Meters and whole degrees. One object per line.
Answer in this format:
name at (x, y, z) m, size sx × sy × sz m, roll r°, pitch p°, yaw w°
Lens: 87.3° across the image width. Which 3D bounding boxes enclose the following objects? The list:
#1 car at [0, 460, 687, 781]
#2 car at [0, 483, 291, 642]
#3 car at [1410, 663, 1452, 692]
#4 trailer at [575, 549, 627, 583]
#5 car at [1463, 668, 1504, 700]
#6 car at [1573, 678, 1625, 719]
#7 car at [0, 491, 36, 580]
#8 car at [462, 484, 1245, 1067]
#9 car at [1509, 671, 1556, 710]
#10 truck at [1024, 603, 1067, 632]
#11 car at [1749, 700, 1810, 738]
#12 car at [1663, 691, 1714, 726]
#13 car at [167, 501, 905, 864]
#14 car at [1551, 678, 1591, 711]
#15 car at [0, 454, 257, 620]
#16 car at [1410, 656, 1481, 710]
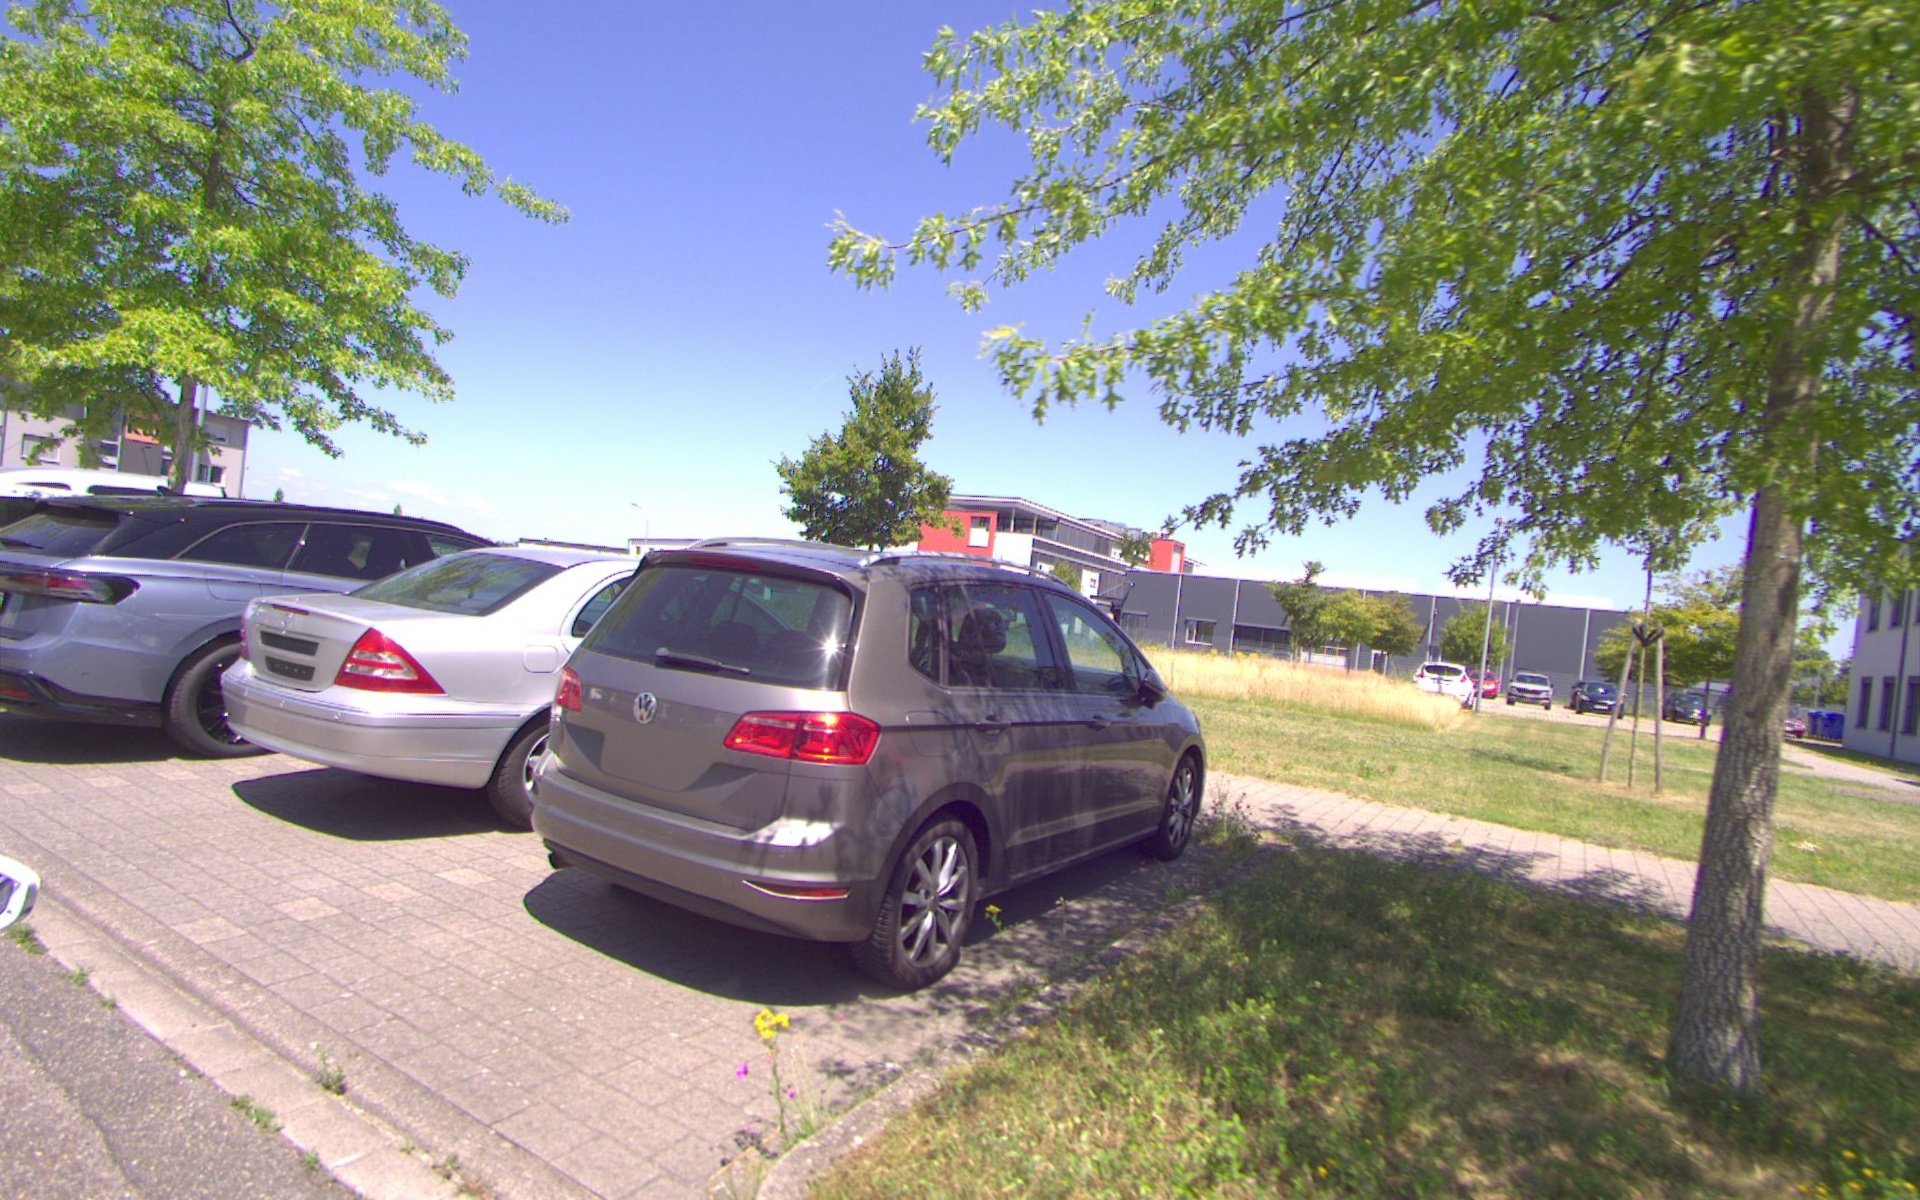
car at (-4.449, 0.109, 7.436) m, size 1.880 × 1.581 × 4.722 m, roll 6°, pitch 1°, yaw 28°
car at (-9.664, -0.416, 10.879) m, size 1.649 × 1.522 × 3.632 m, roll 6°, pitch 1°, yaw 32°
car at (27.805, 4.566, 59.372) m, size 1.691 × 1.470 × 3.991 m, roll 6°, pitch 0°, yaw 31°
trailer at (-33.944, -3.190, 95.153) m, size 2.195 × 2.632 × 3.993 m, roll 7°, pitch 0°, yaw 30°
car at (30.148, 4.808, 57.904) m, size 1.691 × 1.528 × 3.991 m, roll 6°, pitch 0°, yaw 31°
car at (29.006, 4.423, 45.753) m, size 1.690 × 1.528 × 3.992 m, roll 6°, pitch 0°, yaw 30°
car at (-17.220, -1.207, 15.908) m, size 1.725 × 1.435 × 3.460 m, roll 6°, pitch 1°, yaw 31°
car at (-0.052, 0.553, 5.061) m, size 1.665 × 1.646 × 4.048 m, roll 6°, pitch 1°, yaw 32°
car at (26.916, 4.211, 47.316) m, size 1.690 × 1.528 × 3.992 m, roll 6°, pitch 0°, yaw 30°
truck at (7.299, 1.493, 85.546) m, size 1.966 × 2.038 × 3.992 m, roll 7°, pitch 0°, yaw 31°
car at (41.757, 6.046, 51.339) m, size 1.691 × 1.528 × 3.991 m, roll 6°, pitch 0°, yaw 31°
car at (38.365, 5.679, 53.065) m, size 1.691 × 1.528 × 3.991 m, roll 6°, pitch 0°, yaw 31°
car at (-2.228, 0.399, 6.379) m, size 1.618 × 1.471 × 4.048 m, roll 6°, pitch 1°, yaw 32°
car at (33.707, 5.198, 55.532) m, size 1.691 × 1.528 × 3.991 m, roll 6°, pitch 0°, yaw 31°
car at (-11.707, -0.825, 12.556) m, size 1.766 × 1.853 × 4.405 m, roll 6°, pitch 1°, yaw 32°
car at (16.409, 2.769, 33.935) m, size 1.691 × 1.528 × 3.326 m, roll 6°, pitch 0°, yaw 31°
